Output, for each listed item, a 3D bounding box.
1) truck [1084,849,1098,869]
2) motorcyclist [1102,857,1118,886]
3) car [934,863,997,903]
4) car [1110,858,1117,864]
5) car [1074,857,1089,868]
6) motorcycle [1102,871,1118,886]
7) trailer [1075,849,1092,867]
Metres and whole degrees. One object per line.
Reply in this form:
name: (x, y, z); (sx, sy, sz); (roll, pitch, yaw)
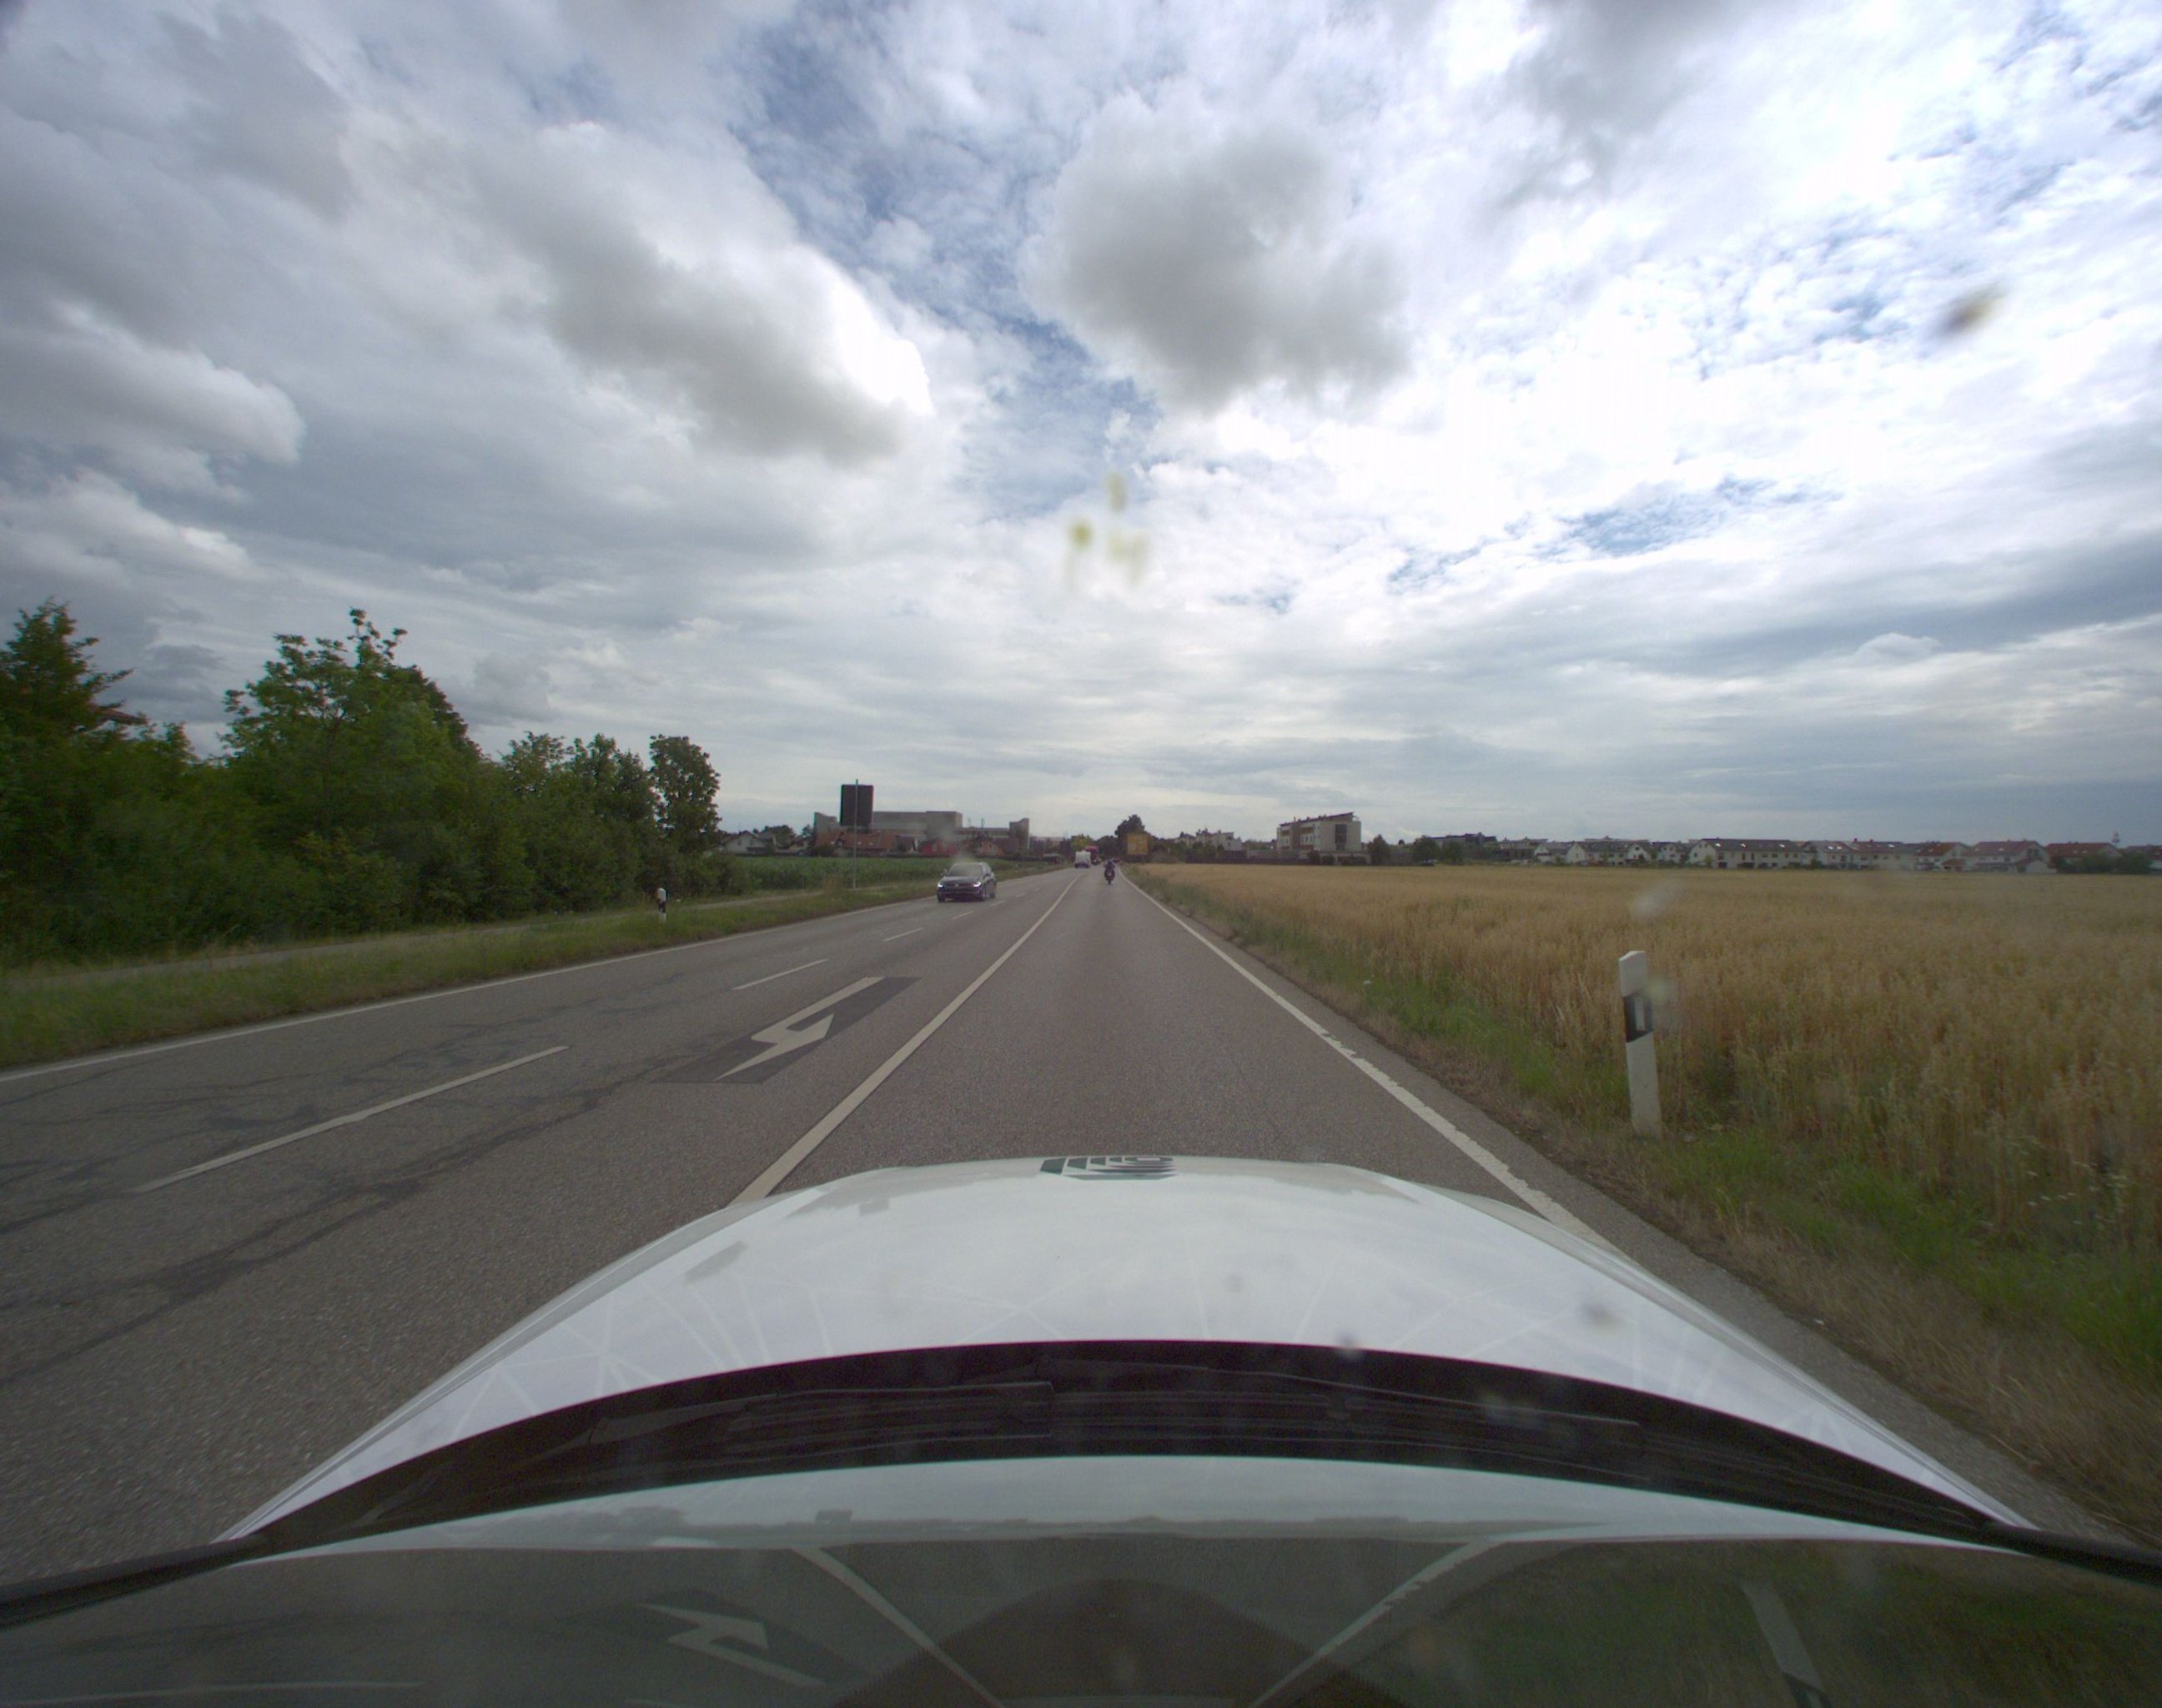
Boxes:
truck: (2.165, 1.071, 171.258); (2.718, 3.987, 6.820); (0, -1, 3)
motorcyclist: (1.830, 1.094, 51.369); (0.937, 1.750, 1.201); (1, -1, 2)
car: (-4.436, 1.083, 31.883); (1.662, 1.429, 4.304); (-1, -1, 2)
car: (8.667, 1.880, 219.410); (1.847, 1.473, 4.002); (1, -1, 2)
car: (0.113, 1.315, 124.617); (1.986, 1.699, 4.678); (1, -1, 2)
motorcycle: (1.832, 1.532, 51.395); (0.937, 0.890, 2.147); (1, -1, 2)
trailer: (0.453, 0.710, 130.701); (2.315, 2.729, 7.848); (1, -1, 3)
